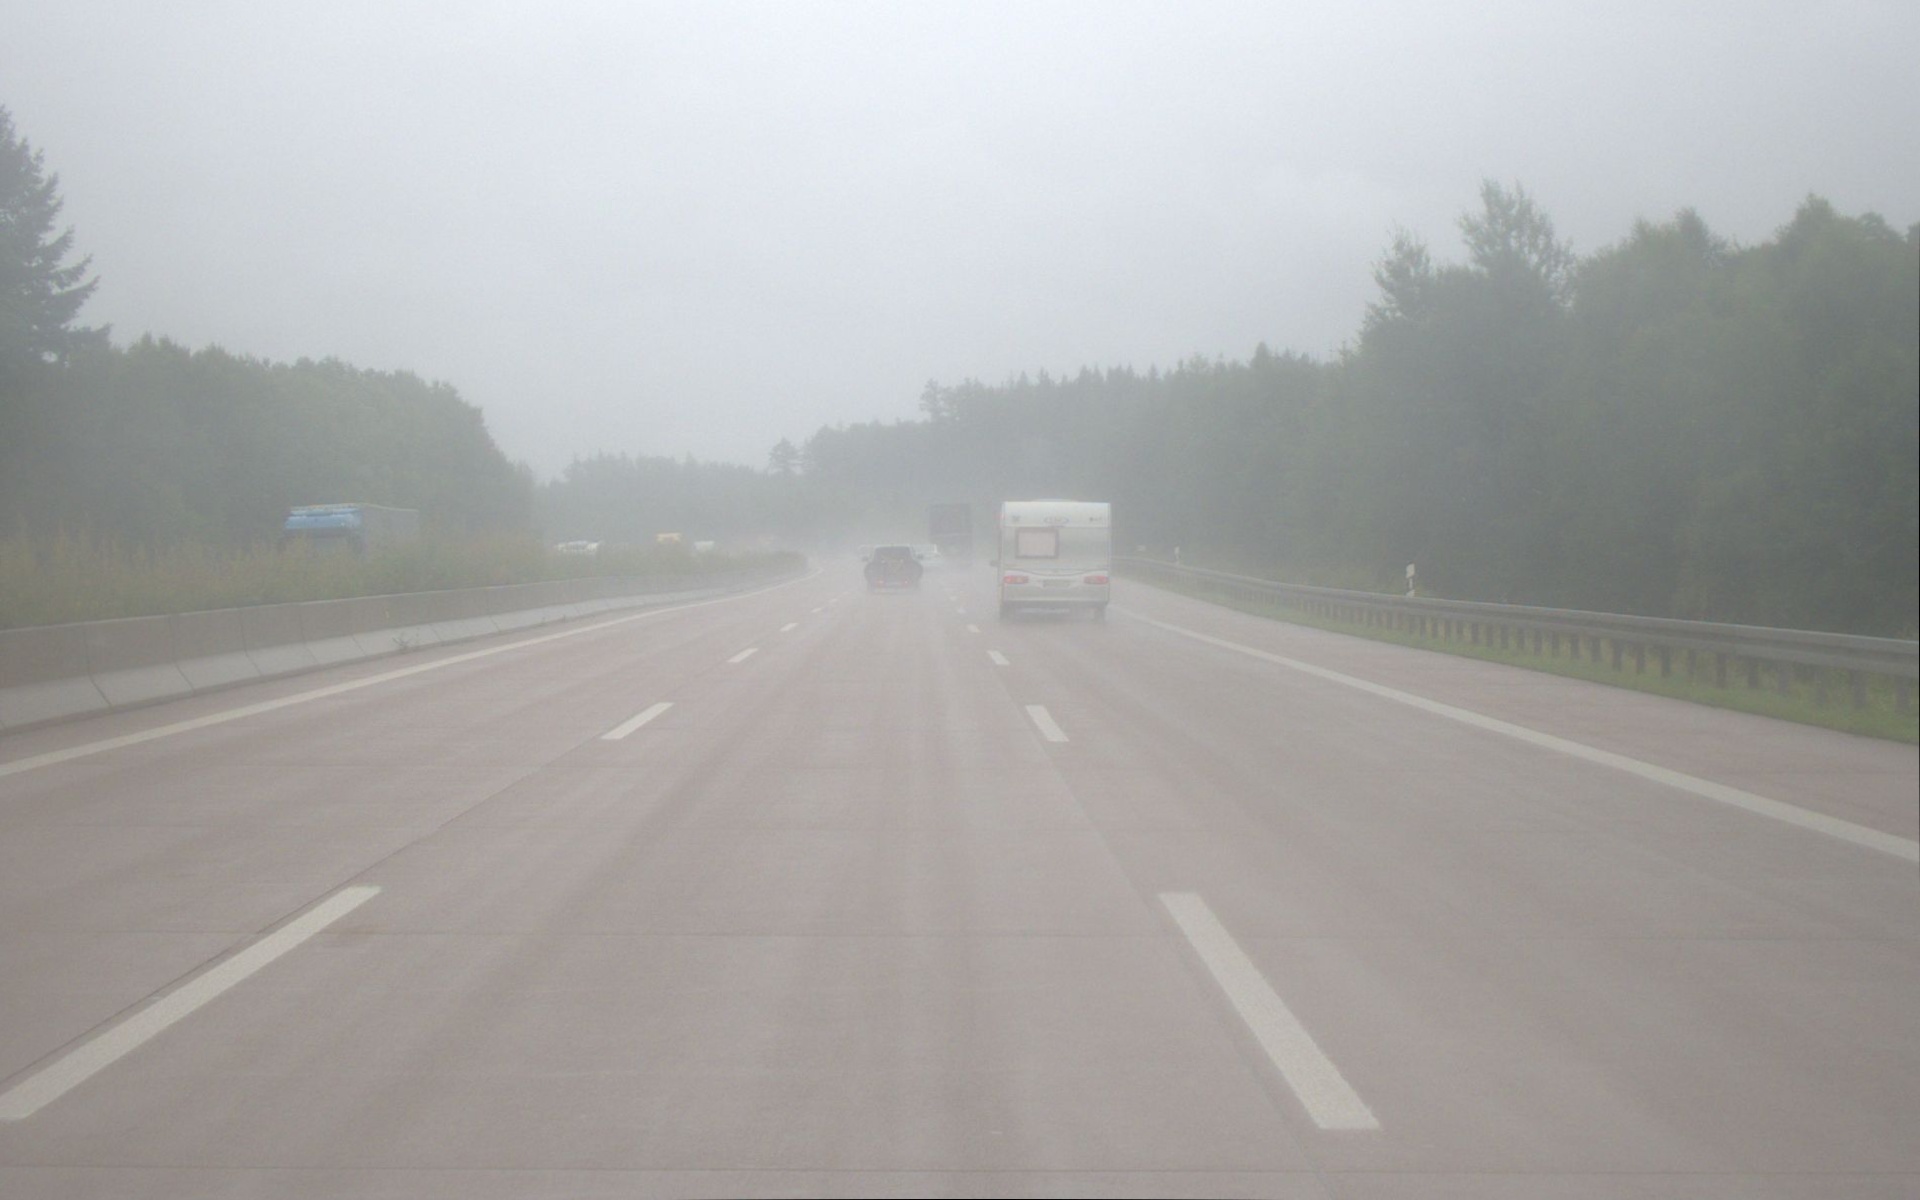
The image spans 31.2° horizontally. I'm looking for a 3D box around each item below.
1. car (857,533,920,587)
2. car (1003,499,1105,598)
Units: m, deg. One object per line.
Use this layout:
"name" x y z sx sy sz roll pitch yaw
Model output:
"car" -2.366 -1.347 114.232 1.937 1.723 4.130 1 1 1
"car" 1.941 -1.084 72.215 2.058 1.993 4.098 1 1 1
